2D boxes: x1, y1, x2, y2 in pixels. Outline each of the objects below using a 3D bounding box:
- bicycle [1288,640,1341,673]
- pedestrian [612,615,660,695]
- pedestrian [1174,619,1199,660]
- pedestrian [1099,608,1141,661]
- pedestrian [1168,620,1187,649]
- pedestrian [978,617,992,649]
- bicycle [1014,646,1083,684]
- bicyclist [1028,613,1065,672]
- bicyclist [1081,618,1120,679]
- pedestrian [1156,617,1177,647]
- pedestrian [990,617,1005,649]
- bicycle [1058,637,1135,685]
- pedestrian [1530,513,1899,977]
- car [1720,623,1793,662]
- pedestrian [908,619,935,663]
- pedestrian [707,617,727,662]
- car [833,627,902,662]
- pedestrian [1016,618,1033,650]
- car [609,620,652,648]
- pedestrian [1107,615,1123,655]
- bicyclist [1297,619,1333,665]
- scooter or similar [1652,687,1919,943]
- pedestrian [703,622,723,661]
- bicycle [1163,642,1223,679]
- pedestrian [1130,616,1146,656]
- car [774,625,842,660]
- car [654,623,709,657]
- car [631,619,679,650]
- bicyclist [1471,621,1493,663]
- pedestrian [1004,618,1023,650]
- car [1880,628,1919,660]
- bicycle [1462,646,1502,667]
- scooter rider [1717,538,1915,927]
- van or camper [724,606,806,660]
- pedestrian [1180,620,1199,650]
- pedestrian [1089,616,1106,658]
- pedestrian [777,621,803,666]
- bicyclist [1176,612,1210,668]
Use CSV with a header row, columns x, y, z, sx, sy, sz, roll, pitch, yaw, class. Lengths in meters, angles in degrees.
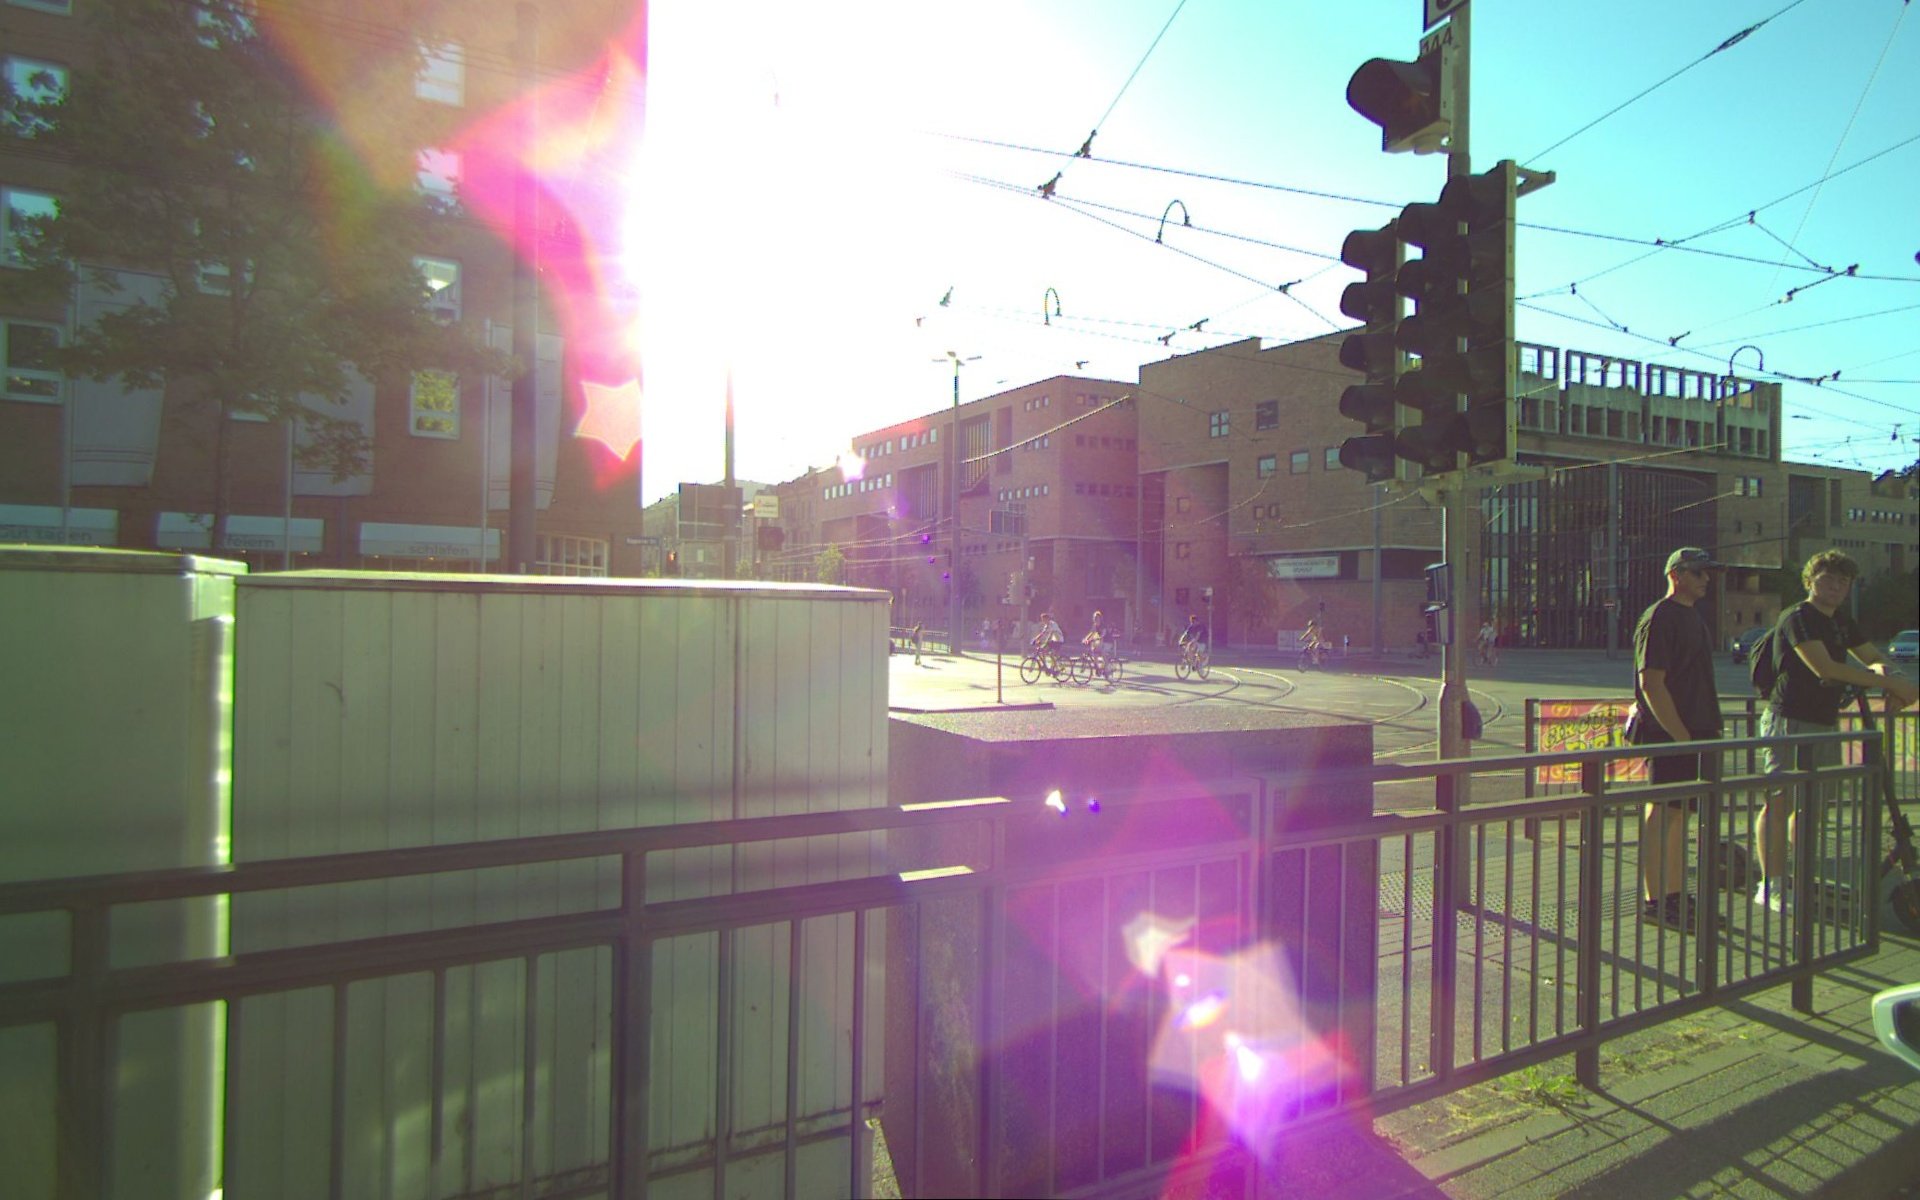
x,y,z,sx,sy,sz,roll,pitch,yaw,class
11.843,1.867,33.545,1.993,1.064,0.647,2,-1,-35,bicycle
-7.683,1.293,23.776,0.944,1.822,0.987,2,0,-24,pedestrian
10.831,1.893,48.097,0.866,1.927,0.718,2,0,-33,pedestrian
6.363,1.368,39.965,1.193,2.040,1.028,2,0,-30,pedestrian
15.406,2.455,71.229,0.841,2.079,1.001,1,-1,-32,pedestrian
1.638,2.160,65.535,0.607,2.040,0.727,1,-1,-32,pedestrian
2.429,1.765,27.516,1.880,1.011,0.649,1,-2,-31,bicycle
2.364,1.156,27.469,0.750,1.595,0.657,1,-1,-31,bicyclist
3.746,1.280,26.880,0.750,1.581,0.678,-1,0,-32,bicyclist
14.474,2.235,70.288,0.902,2.040,1.151,1,-1,-34,pedestrian
2.437,2.147,65.479,0.644,2.040,0.780,1,-1,-32,pedestrian
3.664,1.613,26.815,2.088,1.157,0.681,-1,0,-33,bicycle
3.582,0.615,4.857,0.843,1.908,1.164,1,-1,-25,pedestrian
39.017,2.052,49.184,3.964,1.786,1.854,1,0,-37,car
-1.586,1.686,41.057,0.860,1.775,0.670,1,-2,-39,pedestrian
-11.064,1.786,45.696,0.597,2.040,0.848,1,-1,-38,pedestrian
-4.804,2.241,51.811,1.978,1.709,3.965,1,-2,-33,car
4.106,2.157,64.133,0.742,2.010,0.780,1,-1,-32,pedestrian
-21.364,2.173,64.998,1.738,1.750,3.965,1,-2,-32,car
7.990,1.779,51.848,0.603,2.040,0.731,0,-1,30,pedestrian
11.846,1.395,33.527,1.022,1.494,0.649,2,-1,-35,bicyclist
4.453,1.044,5.275,0.639,1.095,1.199,1,-1,-25,scooter or similar
-11.721,1.967,47.663,0.597,1.843,0.848,1,-1,-38,pedestrian
6.779,1.738,29.179,1.884,1.011,0.688,1,-2,-37,bicycle
9.130,1.835,51.541,0.603,2.040,0.731,0,-1,30,pedestrian
-7.794,2.148,51.186,1.978,1.709,3.965,1,-2,-33,car
-15.250,2.158,54.862,1.739,1.750,3.963,1,-2,-33,car
-18.228,2.040,59.942,1.738,1.750,3.965,1,-2,-32,car
20.717,1.655,39.864,0.509,1.647,0.583,1,-1,-35,bicyclist
3.415,2.133,63.649,0.917,2.010,0.780,1,-1,-32,pedestrian
48.945,2.253,51.728,3.962,1.598,1.610,1,-2,-36,car
20.726,2.233,39.863,1.948,0.781,0.586,1,-2,-35,bicycle
4.472,0.657,5.258,0.670,1.877,0.564,3,-2,-25,scooter rider
-9.386,1.573,48.025,1.981,2.451,4.980,1,-2,-36,van or camper
16.033,2.423,70.269,0.841,2.079,1.001,1,-1,-32,pedestrian
6.760,1.816,49.395,0.603,2.040,0.731,0,-1,30,pedestrian
-6.905,1.758,40.787,0.857,1.775,0.672,1,-1,-30,pedestrian
6.769,1.154,29.158,0.752,1.590,0.656,1,-2,-37,bicyclist
